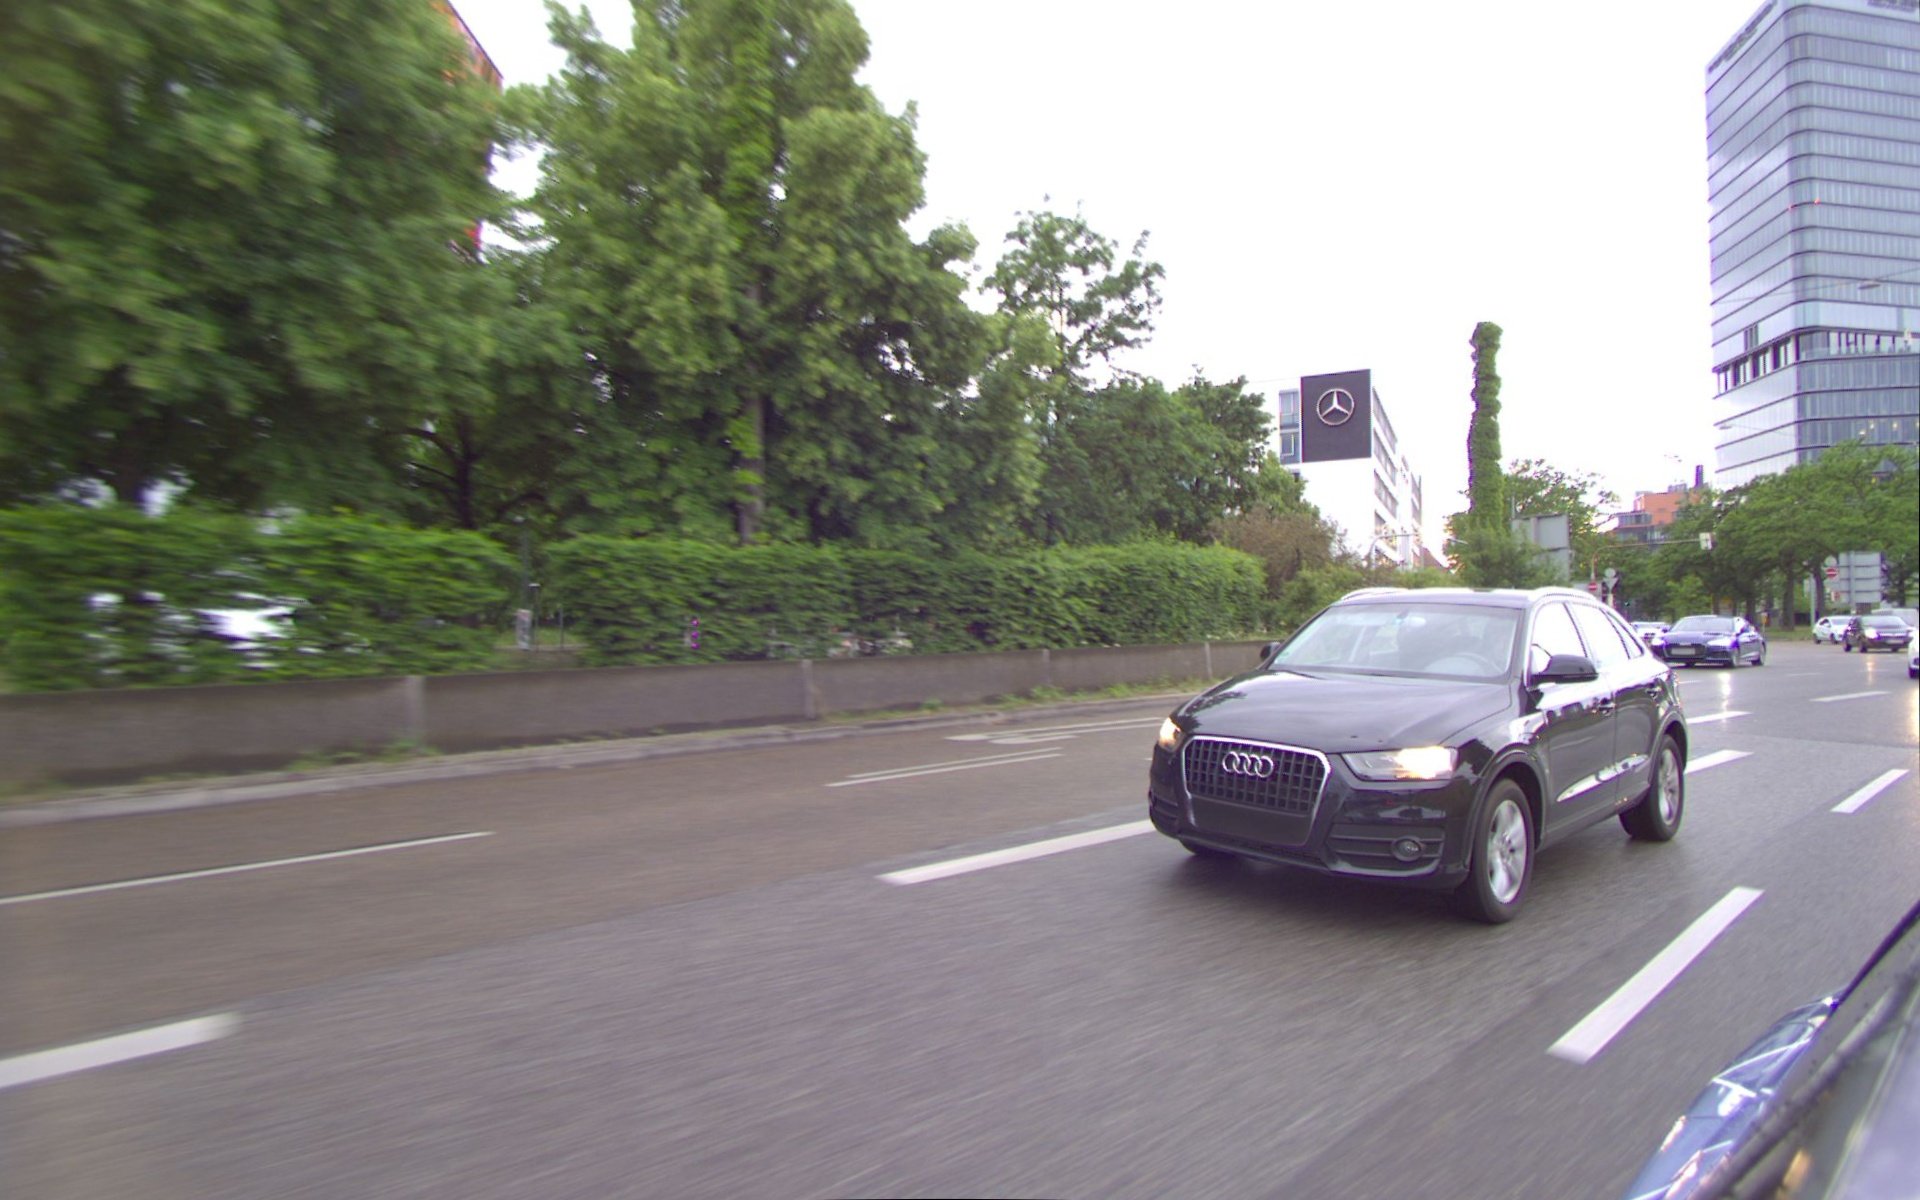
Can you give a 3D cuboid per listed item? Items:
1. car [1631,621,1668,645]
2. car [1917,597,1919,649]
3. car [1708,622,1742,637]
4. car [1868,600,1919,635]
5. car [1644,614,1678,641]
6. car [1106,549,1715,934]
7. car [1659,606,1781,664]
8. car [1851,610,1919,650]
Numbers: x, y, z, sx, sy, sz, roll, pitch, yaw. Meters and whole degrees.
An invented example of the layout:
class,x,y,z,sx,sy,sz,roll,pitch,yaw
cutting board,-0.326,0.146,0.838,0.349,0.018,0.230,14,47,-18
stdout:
class,x,y,z,sx,sy,sz,roll,pitch,yaw
car,47.894,2.280,70.320,1.596,1.533,3.599,-1,-1,26
car,21.343,0.648,21.011,4.190,1.491,1.727,0,-2,-41
car,77.152,2.972,102.095,1.662,1.504,3.765,-1,-2,20
car,73.587,1.337,79.015,1.906,2.618,5.425,-1,-2,18
car,54.359,2.096,78.520,1.596,2.039,3.599,-1,-1,26
car,2.885,0.579,6.067,4.053,1.553,1.729,0,-1,-40
car,20.241,0.886,26.905,3.929,1.416,1.757,0,-1,-40
car,35.901,1.138,39.017,1.557,1.433,3.836,-2,-2,31
